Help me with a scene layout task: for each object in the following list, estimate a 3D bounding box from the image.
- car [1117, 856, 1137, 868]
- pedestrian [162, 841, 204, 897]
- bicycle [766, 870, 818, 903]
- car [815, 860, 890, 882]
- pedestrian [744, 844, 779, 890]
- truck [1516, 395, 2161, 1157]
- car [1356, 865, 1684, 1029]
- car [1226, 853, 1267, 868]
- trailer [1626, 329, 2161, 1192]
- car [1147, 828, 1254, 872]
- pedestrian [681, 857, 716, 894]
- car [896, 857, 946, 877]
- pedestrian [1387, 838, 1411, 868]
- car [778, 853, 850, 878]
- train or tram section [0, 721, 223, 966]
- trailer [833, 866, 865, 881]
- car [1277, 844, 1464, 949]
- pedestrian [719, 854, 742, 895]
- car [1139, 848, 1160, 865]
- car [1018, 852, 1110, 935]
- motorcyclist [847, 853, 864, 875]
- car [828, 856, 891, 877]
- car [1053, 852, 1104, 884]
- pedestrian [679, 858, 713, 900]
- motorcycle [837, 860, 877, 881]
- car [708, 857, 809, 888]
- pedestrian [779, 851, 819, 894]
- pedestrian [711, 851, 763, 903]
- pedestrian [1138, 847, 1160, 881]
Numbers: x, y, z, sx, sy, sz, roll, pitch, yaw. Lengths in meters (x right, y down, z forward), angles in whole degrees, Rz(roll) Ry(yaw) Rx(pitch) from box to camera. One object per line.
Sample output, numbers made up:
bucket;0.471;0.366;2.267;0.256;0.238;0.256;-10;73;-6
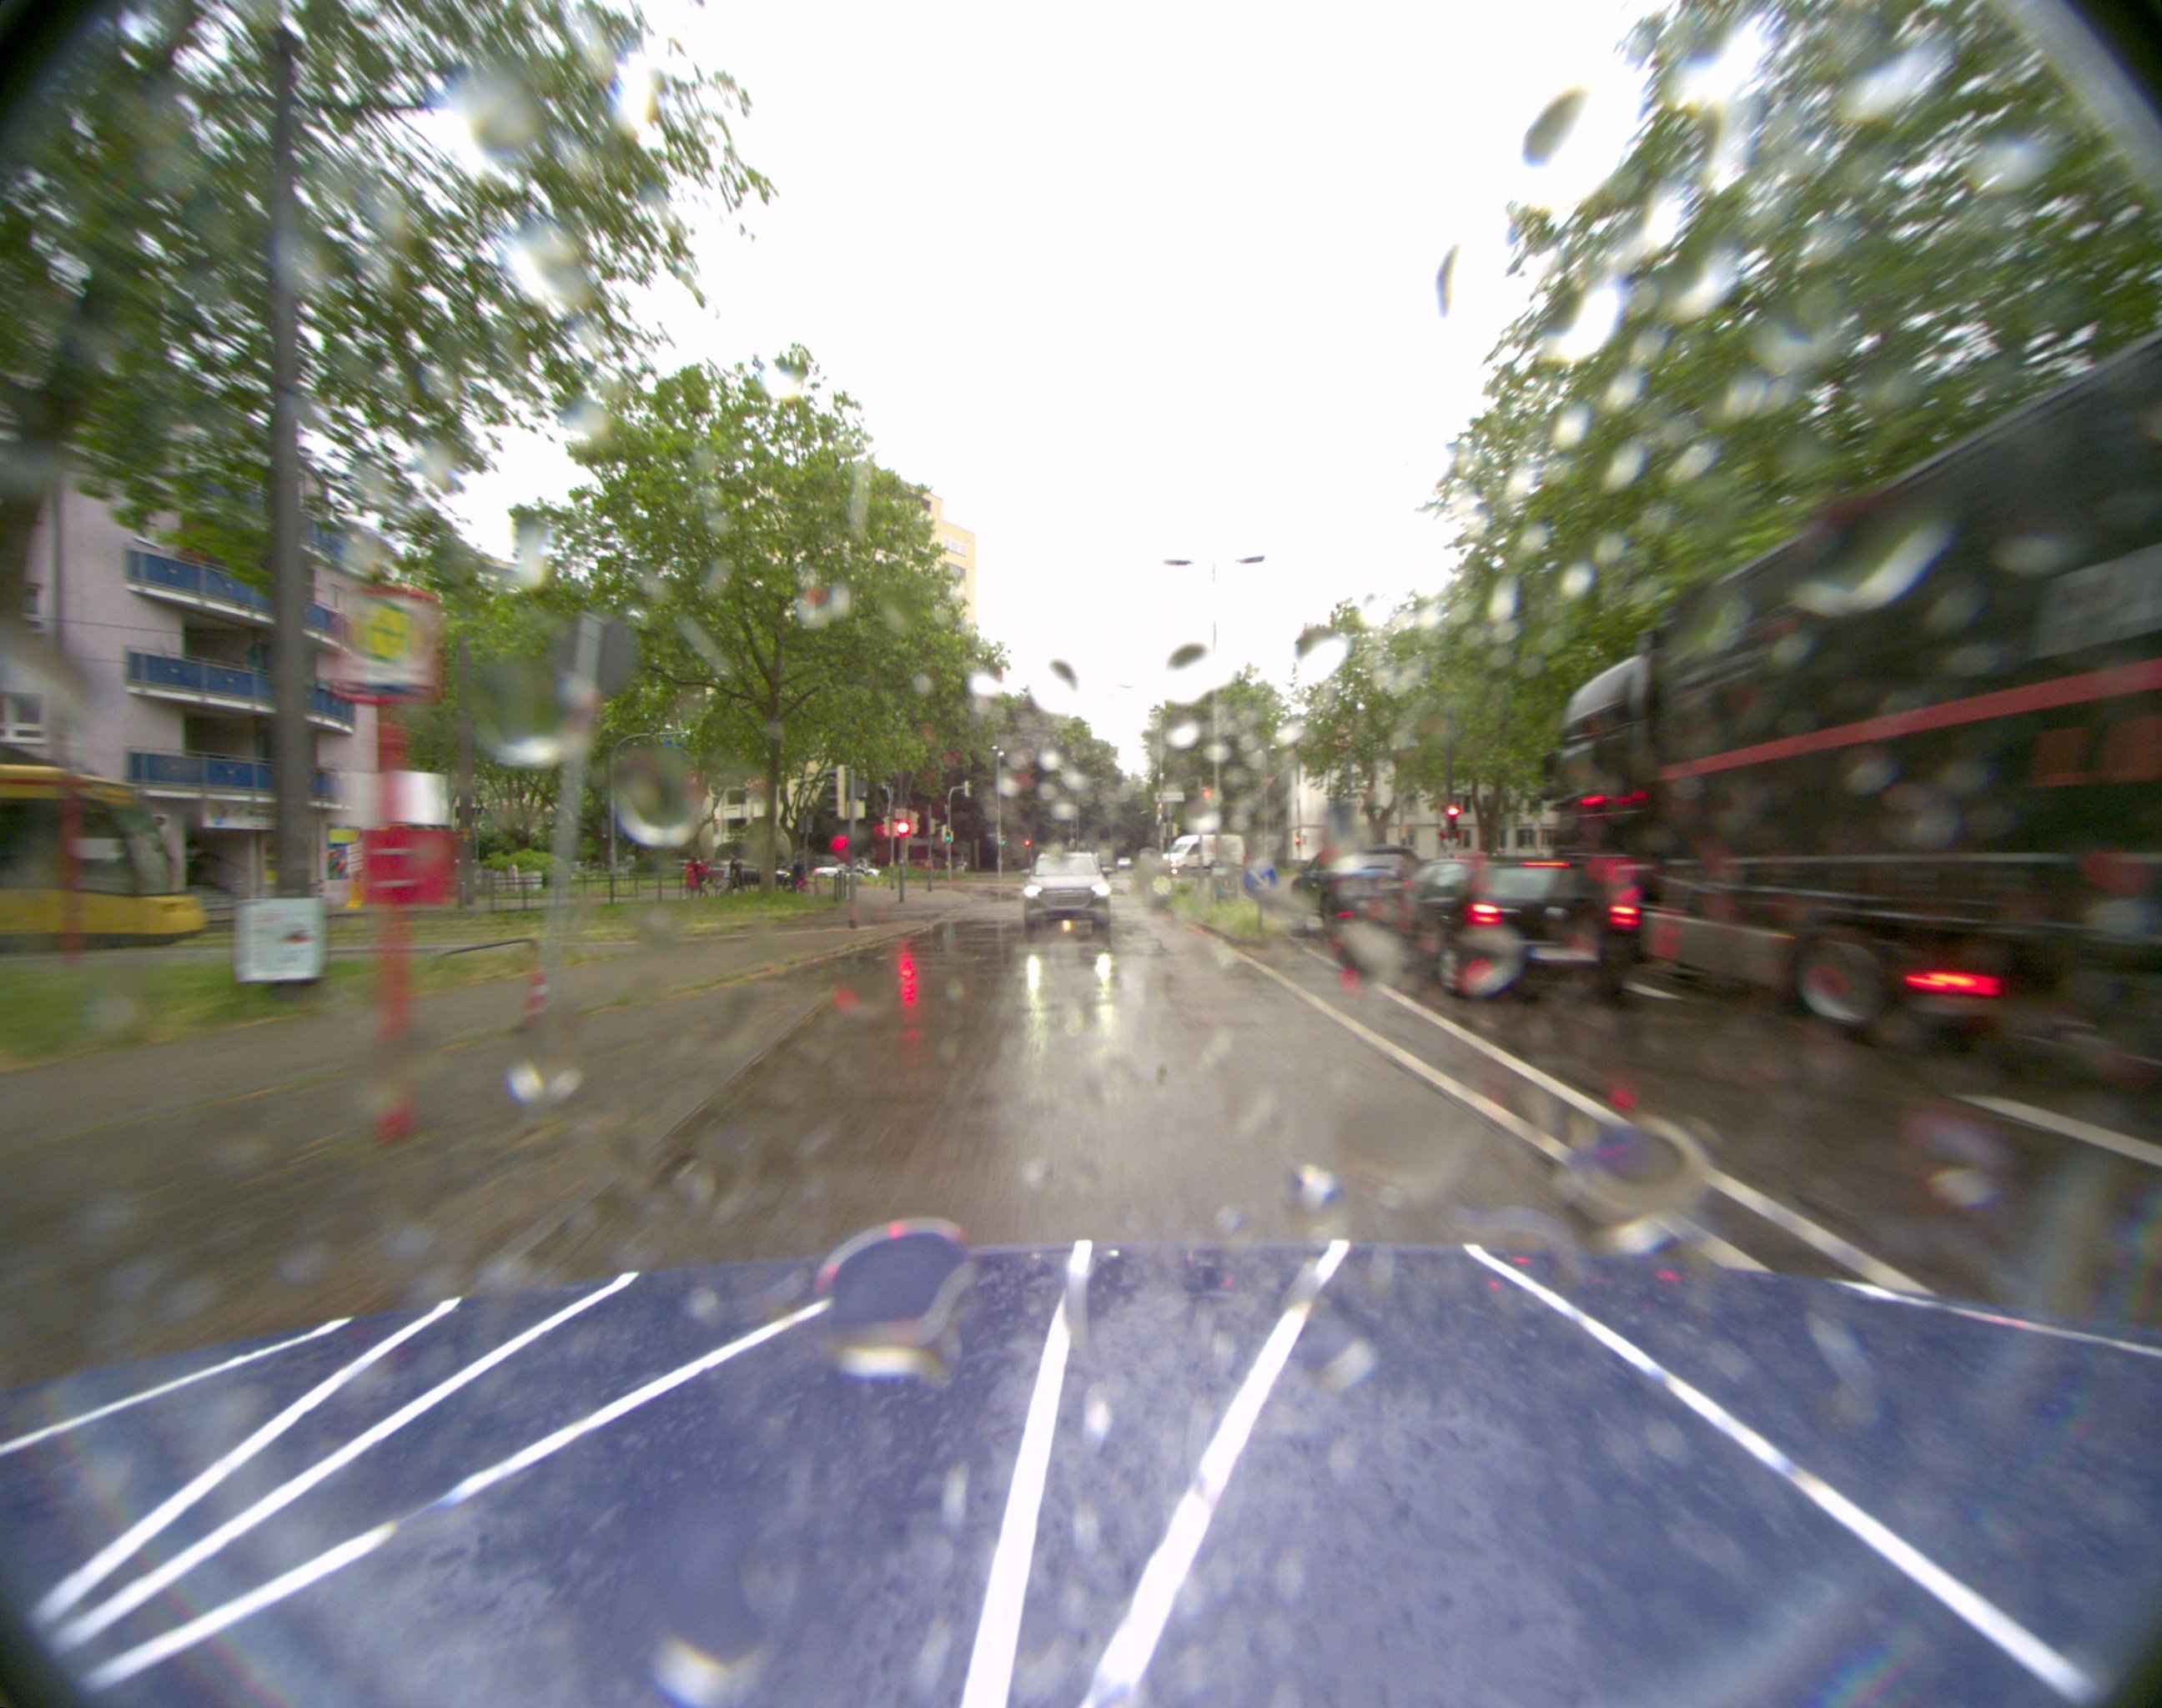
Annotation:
car;5.705;0.933;94.134;1.819;1.451;4.276;-1;0;12
pedestrian;-25.979;0.420;21.986;0.594;1.592;0.472;-1;0;-11
bicycle;-9.843;1.109;25.922;1.620;1.070;0.445;0;0;-15
car;-14.381;1.070;47.929;4.169;1.268;1.903;-1;0;-1
pedestrian;-12.624;0.506;30.043;0.993;1.771;0.813;1;0;11
truck;7.453;-0.411;7.301;3.456;4.054;6.979;-1;0;10
car;4.508;0.831;8.592;1.701;1.365;4.102;0;0;6
car;16.908;0.664;77.770;3.995;1.346;1.798;-1;0;6
trailer;6.244;-0.444;0.400;3.448;4.025;15.062;0;0;10
car;7.438;-0.256;47.022;6.521;2.547;2.279;-1;0;-29
pedestrian;-14.385;0.812;28.582;1.011;1.373;0.673;1;0;-11
car;-12.736;1.003;60.446;3.457;1.516;1.843;-1;0;6
pedestrian;17.703;-0.049;42.287;0.861;1.678;0.847;0;0;-18
car;-18.715;0.770;53.442;1.870;1.654;4.612;-1;0;33
train or tram section;-17.756;-0.108;9.840;8.392;3.349;2.639;-1;0;-36
trailer;-13.527;1.135;44.312;1.481;0.837;1.027;-1;0;5
car;5.479;0.777;15.211;2.078;1.672;4.932;-3;-1;4
pedestrian;-13.170;0.756;28.531;0.762;1.539;0.691;0;0;-24
car;9.956;0.352;109.645;2.399;2.461;5.697;1;0;11
car;-0.447;0.821;17.626;1.809;1.611;4.136;-2;0;-3
motorcyclist;-13.463;0.598;45.299;0.754;1.343;0.758;-1;0;3
car;-17.764;0.966;60.966;4.449;1.598;1.942;-1;0;8
car;-0.044;0.633;36.178;1.852;1.435;4.003;0;0;8
pedestrian;-14.166;0.892;27.965;1.066;1.517;0.877;0;1;-24
motorcycle;-13.354;0.957;45.283;2.072;1.207;0.881;-1;0;3
car;-16.042;0.904;37.921;4.174;1.452;1.995;0;0;1
pedestrian;-11.067;0.713;29.812;1.053;1.676;0.998;1;0;22
pedestrian;-12.013;0.801;26.569;1.234;1.778;1.039;0;0;14
pedestrian;3.141;0.471;35.210;0.863;1.572;0.642;1;0;-7
